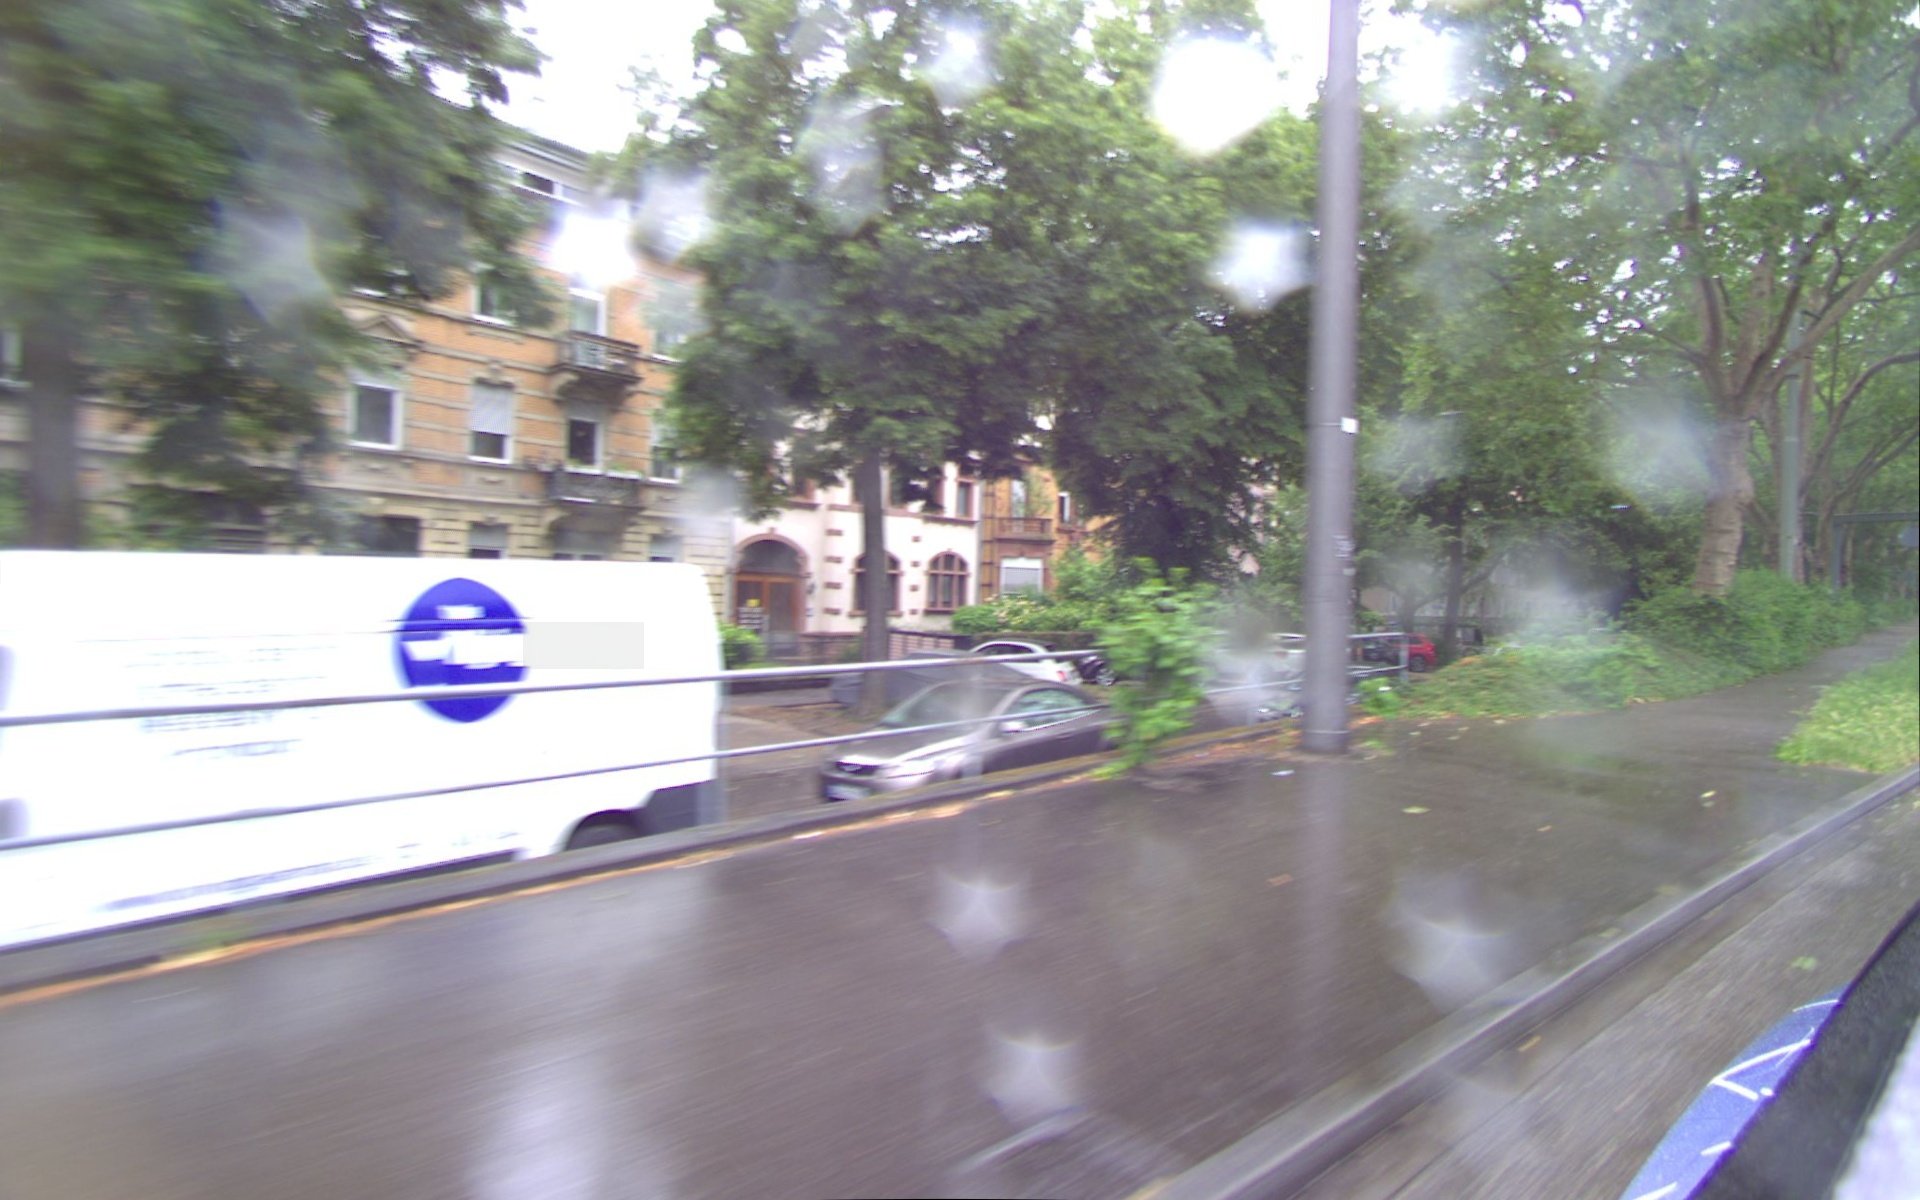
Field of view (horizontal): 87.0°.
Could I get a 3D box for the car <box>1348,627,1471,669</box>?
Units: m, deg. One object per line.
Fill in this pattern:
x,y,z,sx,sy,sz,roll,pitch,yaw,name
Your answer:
17.086,1.805,38.671,3.936,1.482,1.832,0,0,11,car

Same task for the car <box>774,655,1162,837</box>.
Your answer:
0.272,1.410,11.210,1.965,1.370,4.318,-1,-1,42,car

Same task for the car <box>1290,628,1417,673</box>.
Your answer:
14.136,1.790,36.541,3.936,1.482,1.907,0,0,11,car

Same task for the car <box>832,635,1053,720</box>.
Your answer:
-0.342,1.515,20.604,4.207,1.397,1.682,1,1,18,car

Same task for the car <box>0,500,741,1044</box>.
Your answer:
-4.489,0.789,6.040,2.207,2.451,6.063,-2,-1,43,car

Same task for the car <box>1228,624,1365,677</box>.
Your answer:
10.803,1.603,32.793,3.936,1.586,1.994,0,0,11,car

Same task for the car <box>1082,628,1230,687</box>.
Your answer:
5.491,1.569,28.323,3.941,1.482,1.991,0,0,15,car

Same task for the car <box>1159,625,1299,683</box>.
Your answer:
8.062,1.586,30.526,3.941,1.629,1.817,0,0,15,car

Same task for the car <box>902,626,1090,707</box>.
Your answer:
0.815,1.435,22.810,3.951,1.523,1.648,1,1,21,car
